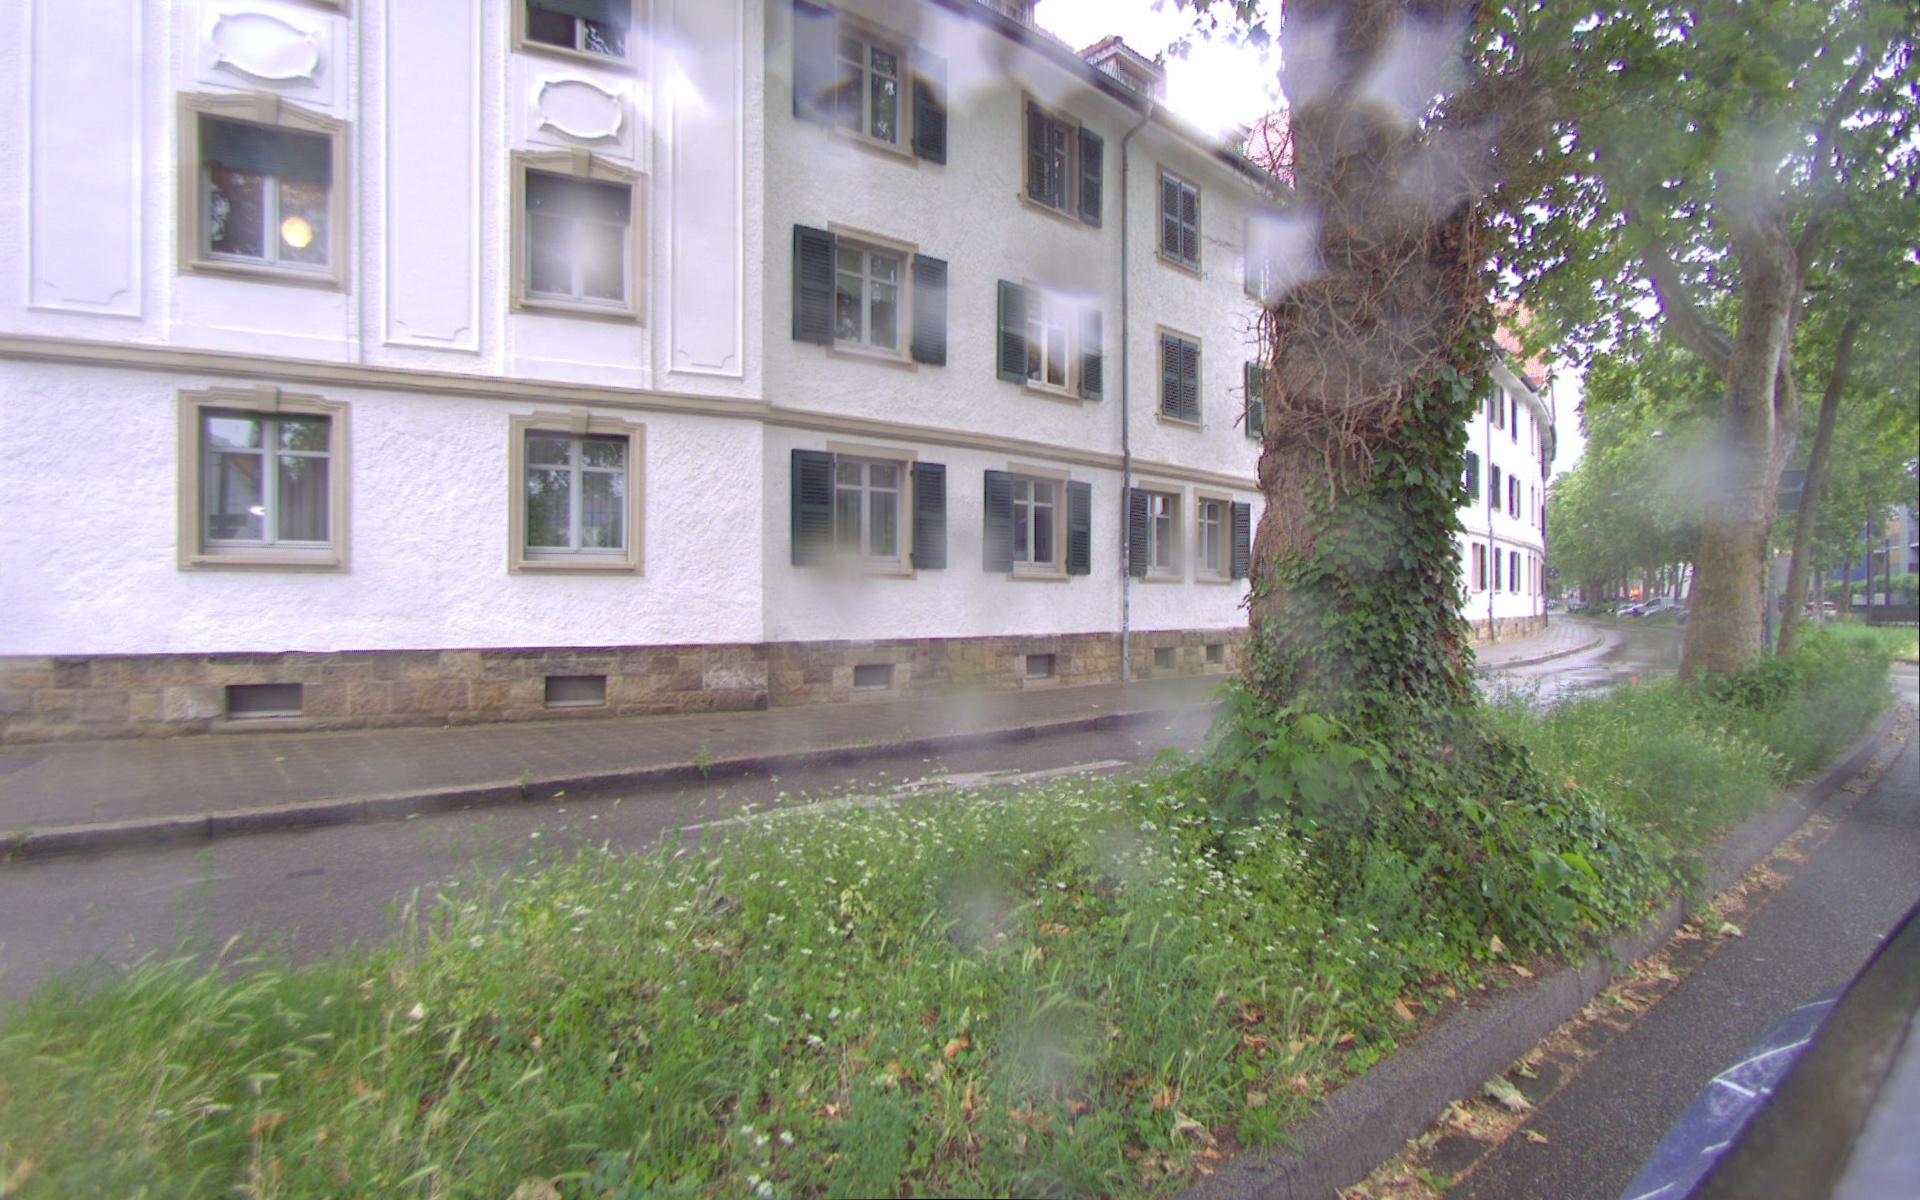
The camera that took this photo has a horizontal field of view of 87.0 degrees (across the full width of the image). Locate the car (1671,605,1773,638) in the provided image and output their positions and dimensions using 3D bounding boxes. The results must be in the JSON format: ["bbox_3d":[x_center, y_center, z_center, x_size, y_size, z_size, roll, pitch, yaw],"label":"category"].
[{"bbox_3d":[43.511,1.192,57.863,1.715,1.632,4.335,1,1,-35],"label":"car"}]

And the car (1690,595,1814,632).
[{"bbox_3d":[37.846,0.612,48.458,1.892,1.560,4.236,0,1,-30],"label":"car"}]

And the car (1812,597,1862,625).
[{"bbox_3d":[57.774,0.684,66.752,1.677,1.745,3.656,2,1,28],"label":"car"}]

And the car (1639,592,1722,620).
[{"bbox_3d":[56.619,0.459,79.590,1.960,2.039,4.899,1,1,-30],"label":"car"}]
